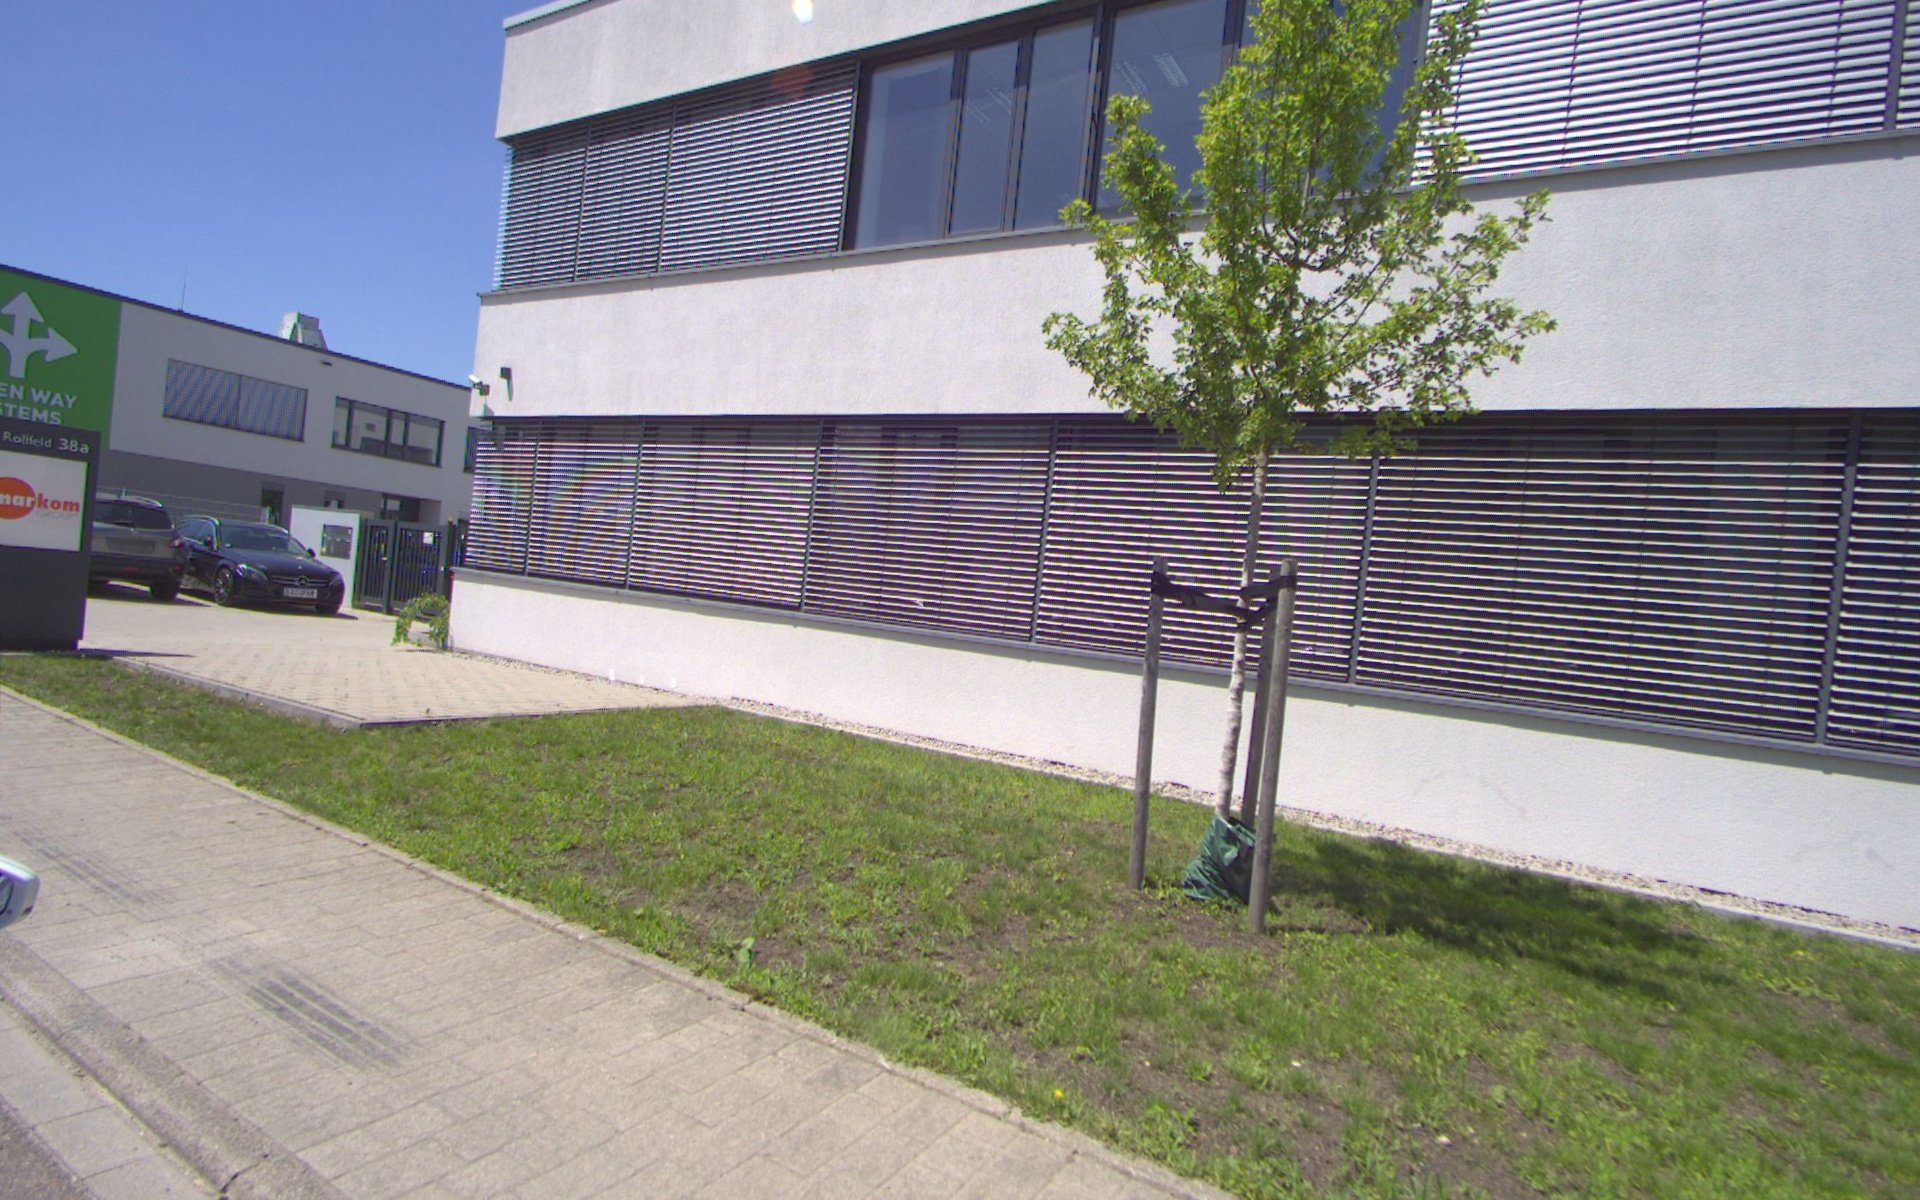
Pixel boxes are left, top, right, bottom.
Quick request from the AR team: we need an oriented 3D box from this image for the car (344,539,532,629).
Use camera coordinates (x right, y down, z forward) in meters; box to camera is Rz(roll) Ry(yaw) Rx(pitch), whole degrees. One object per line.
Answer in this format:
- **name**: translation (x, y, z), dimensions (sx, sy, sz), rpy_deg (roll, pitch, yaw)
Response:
- **car**: translation (-11.326, -0.356, 21.768), dimensions (3.956, 1.453, 1.725), rpy_deg (6, -1, 32)

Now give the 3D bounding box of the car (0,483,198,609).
- **car**: translation (-14.547, -0.927, 16.590), dimensions (3.956, 1.653, 1.725), rpy_deg (6, -1, 32)

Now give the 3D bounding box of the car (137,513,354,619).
- **car**: translation (-13.017, -0.633, 18.278), dimensions (3.956, 1.467, 1.725), rpy_deg (6, -1, 32)
